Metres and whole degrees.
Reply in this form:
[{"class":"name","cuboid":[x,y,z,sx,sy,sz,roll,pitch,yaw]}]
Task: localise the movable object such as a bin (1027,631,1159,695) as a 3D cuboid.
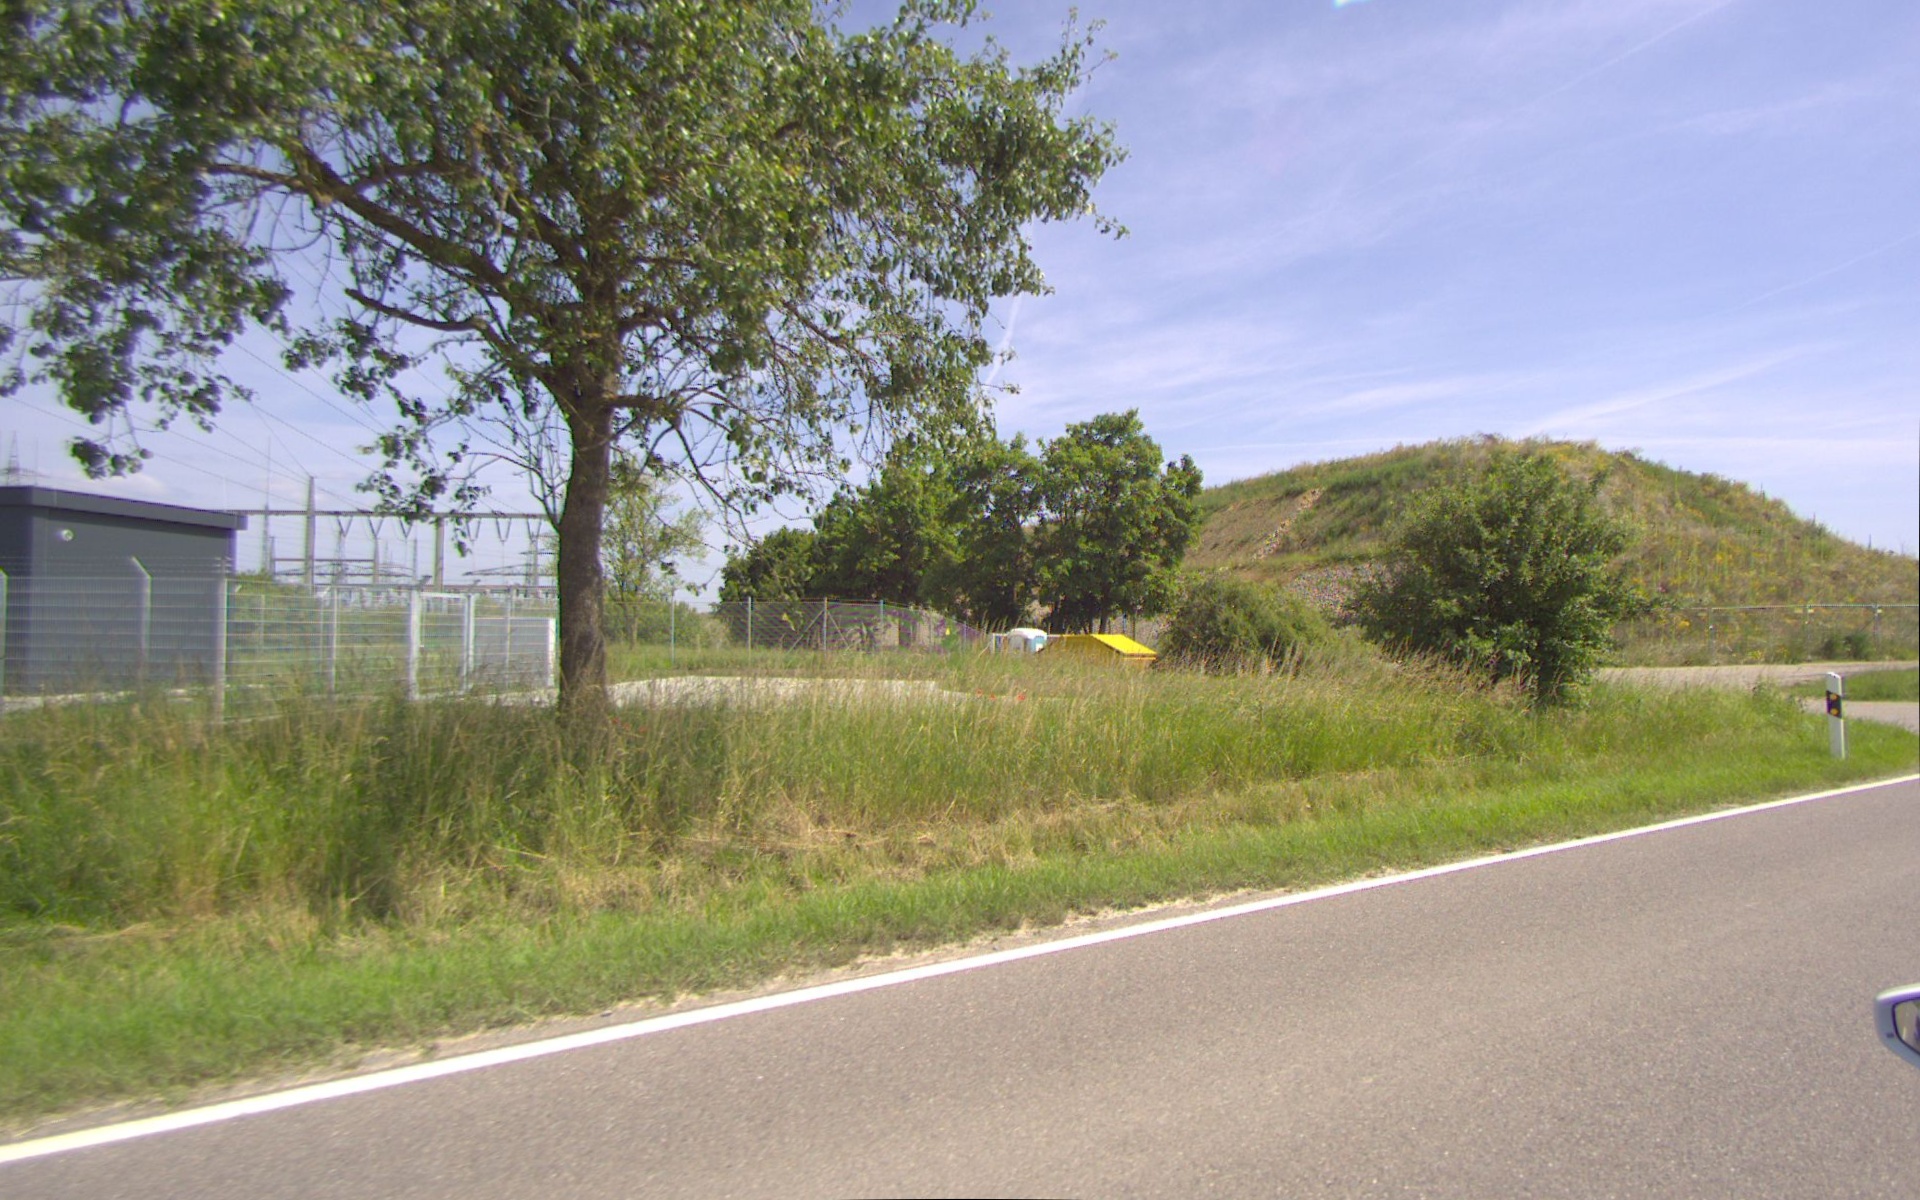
[{"class":"movable object such as a bin","cuboid":[4.675,2.174,35.657,2.157,1.940,4.236,1,0,-43]}]
